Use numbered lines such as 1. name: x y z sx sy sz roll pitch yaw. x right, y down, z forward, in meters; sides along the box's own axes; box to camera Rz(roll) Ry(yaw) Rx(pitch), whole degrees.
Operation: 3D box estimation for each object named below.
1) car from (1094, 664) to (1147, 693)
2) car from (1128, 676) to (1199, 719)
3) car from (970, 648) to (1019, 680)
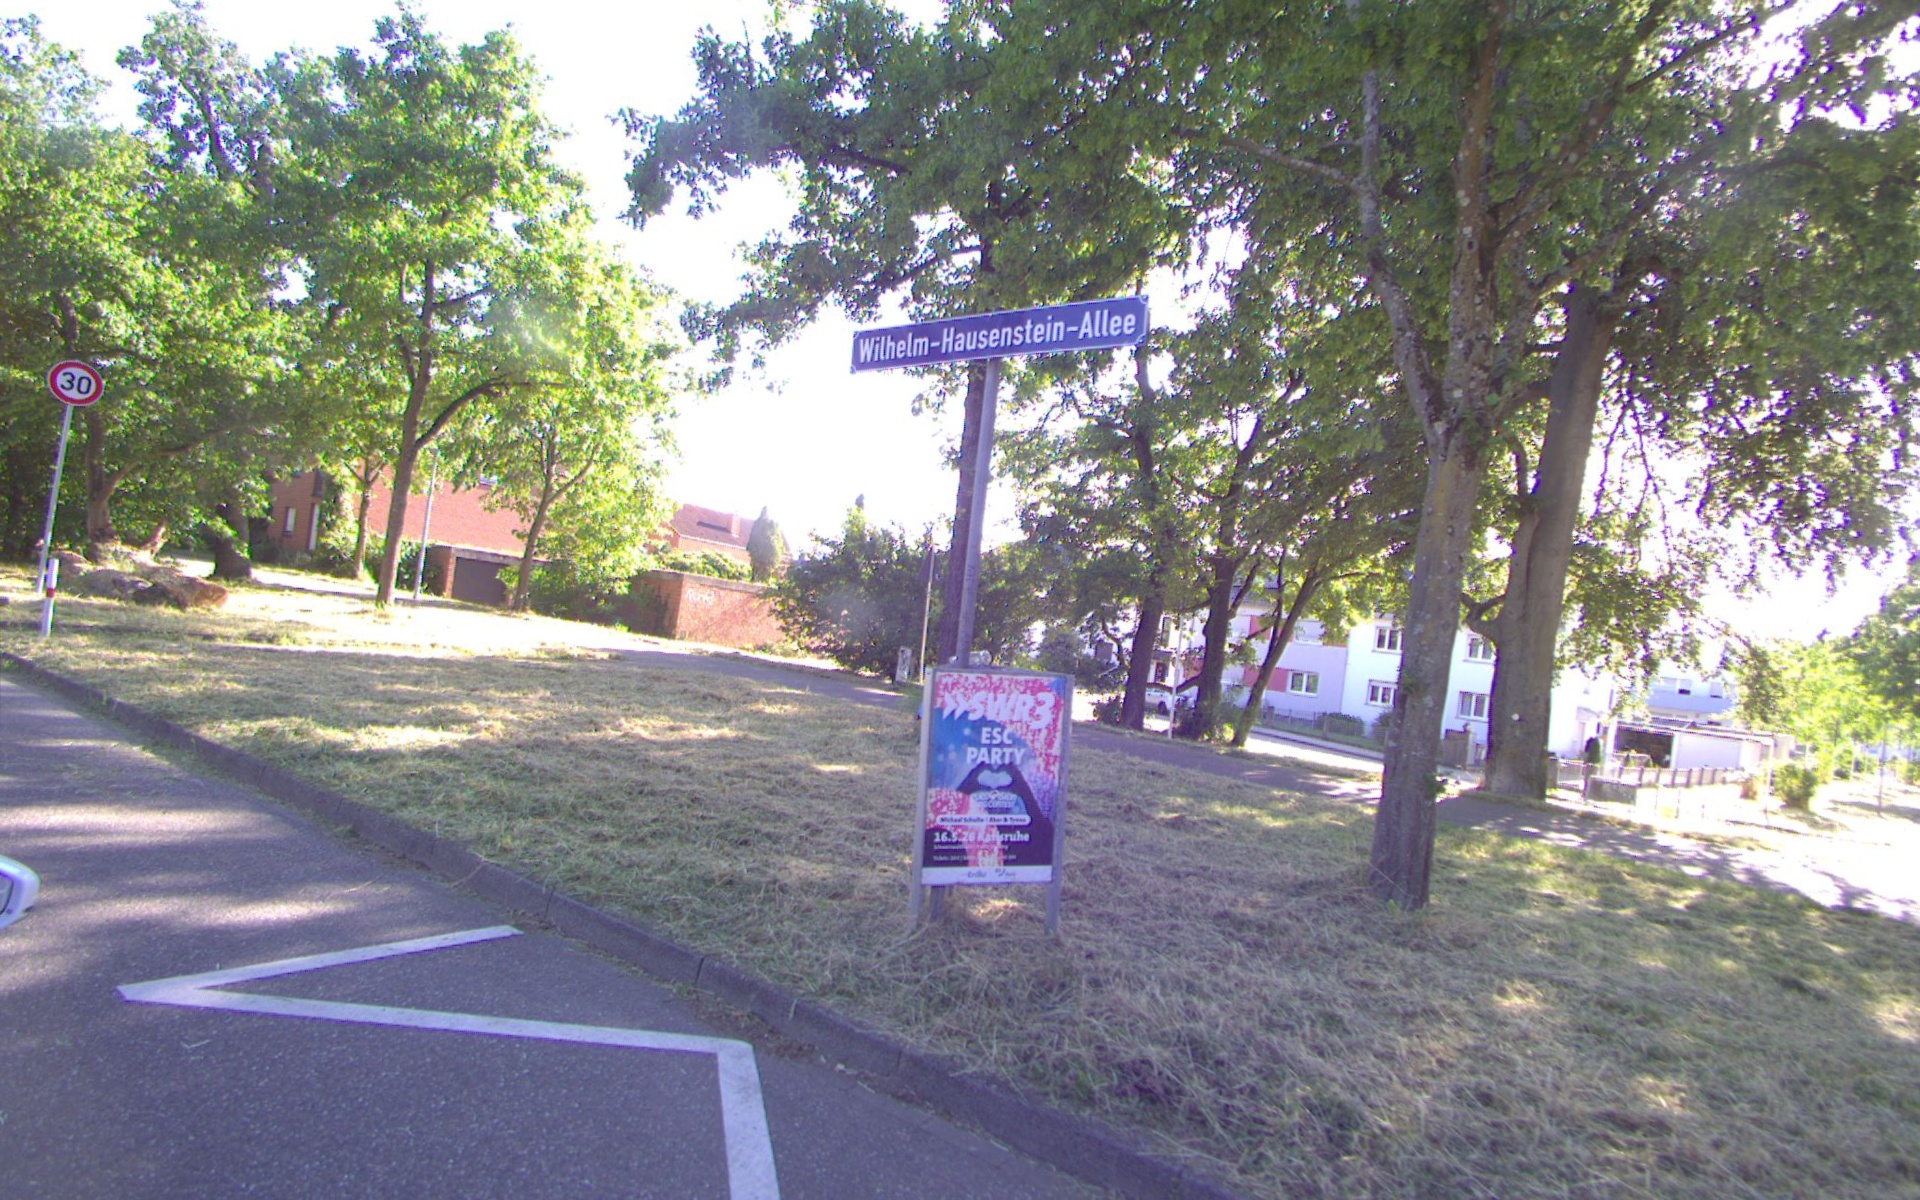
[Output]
1. car: 11.045 5.409 69.020 3.615 1.515 1.435 10 -3 -40
2. car: 9.795 4.667 48.534 1.513 1.569 3.161 9 -2 -28
3. car: 2.225 4.186 65.762 1.787 1.634 3.624 9 -2 -21
